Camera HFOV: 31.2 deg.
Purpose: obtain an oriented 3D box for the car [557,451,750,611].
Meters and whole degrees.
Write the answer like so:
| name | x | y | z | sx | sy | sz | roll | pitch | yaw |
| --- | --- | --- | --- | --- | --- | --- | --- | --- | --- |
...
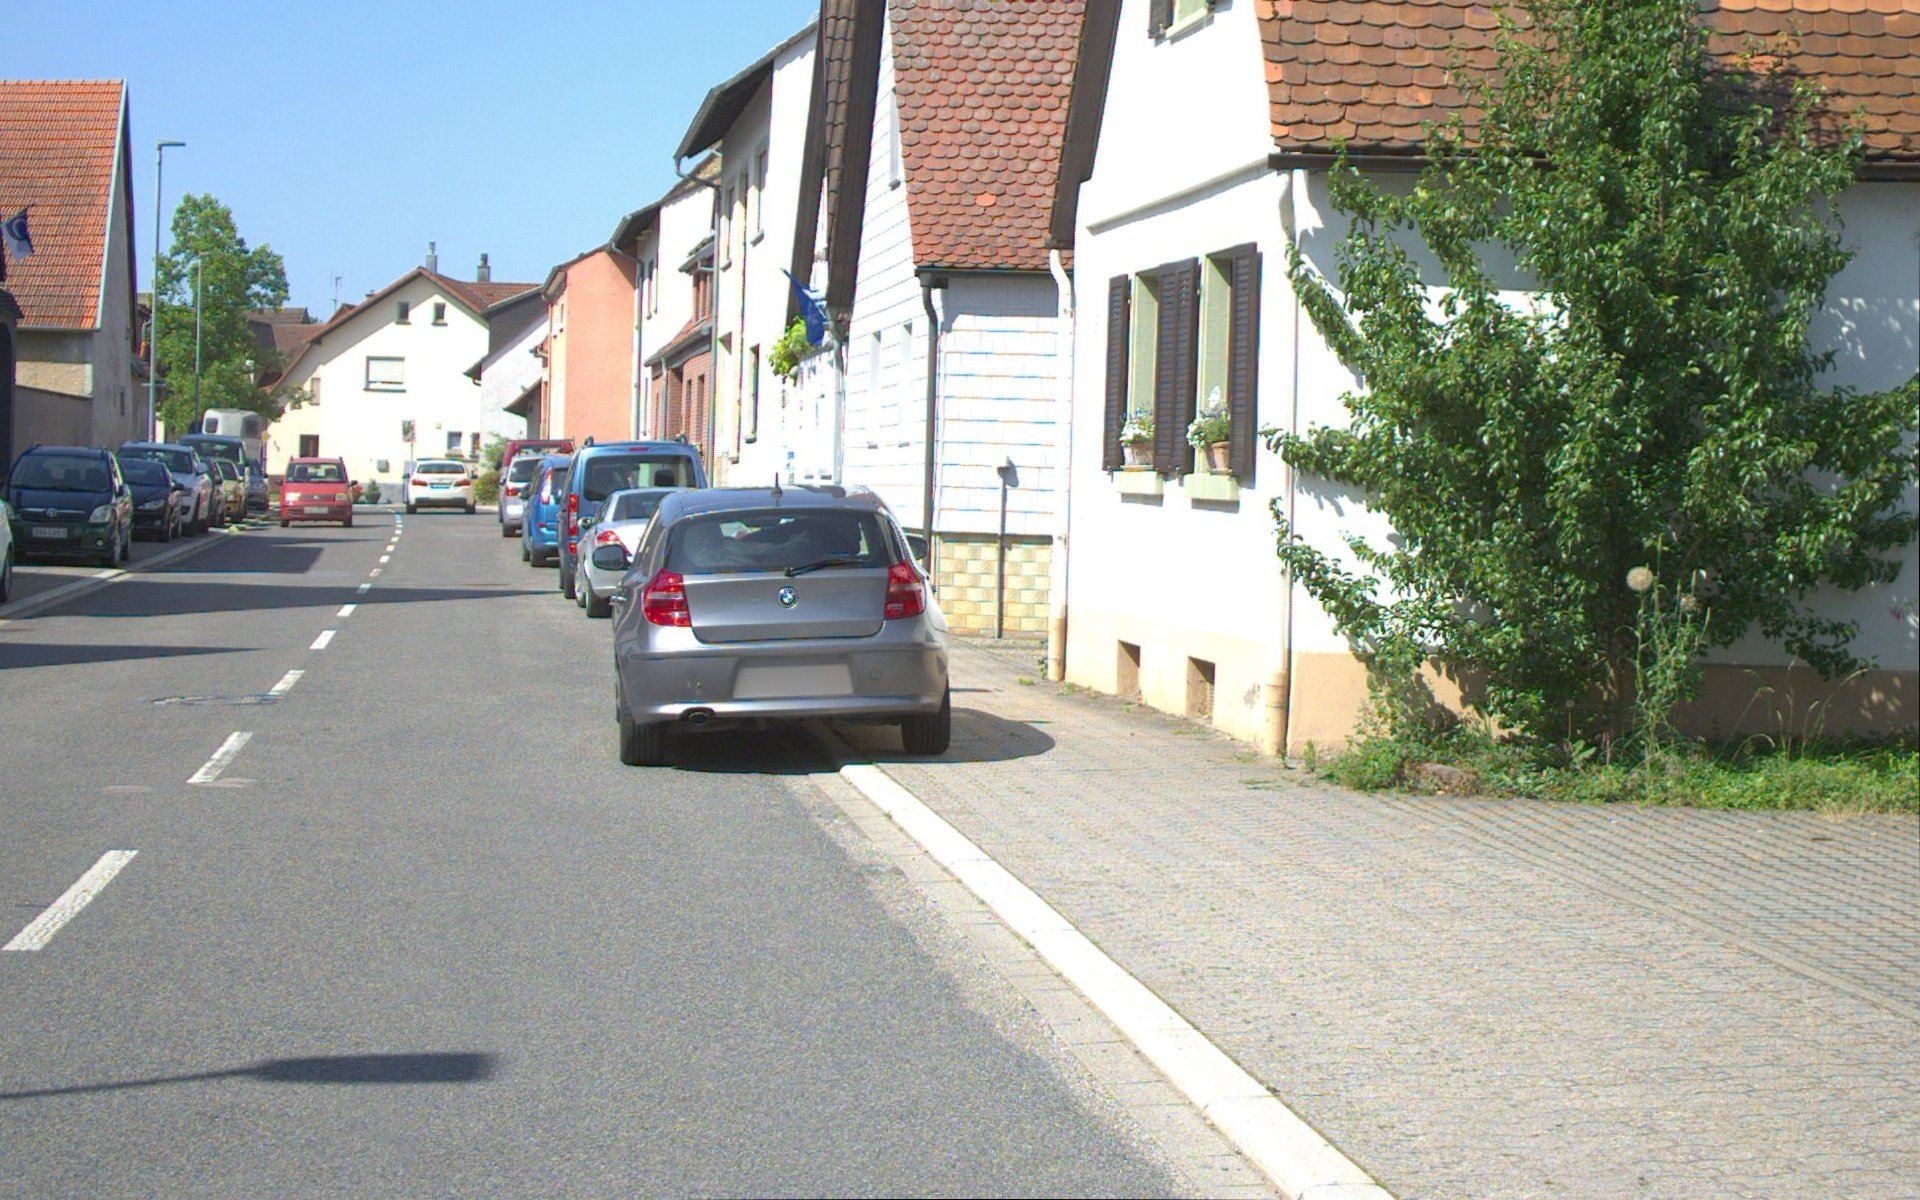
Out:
| name | x | y | z | sx | sy | sz | roll | pitch | yaw |
| --- | --- | --- | --- | --- | --- | --- | --- | --- | --- |
| car | -3.205 | -0.737 | 35.422 | 1.704 | 1.491 | 3.453 | 2 | 2 | -9 |

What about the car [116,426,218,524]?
| name | x | y | z | sx | sy | sz | roll | pitch | yaw |
| --- | --- | --- | --- | --- | --- | --- | --- | --- | --- |
| car | -14.682 | -2.324 | 63.790 | 1.527 | 1.707 | 3.627 | 2 | 2 | -9 |

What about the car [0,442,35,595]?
| name | x | y | z | sx | sy | sz | roll | pitch | yaw |
| --- | --- | --- | --- | --- | --- | --- | --- | --- | --- |
| car | -10.551 | -0.852 | 34.526 | 1.805 | 1.542 | 4.405 | 2 | 2 | -7 |

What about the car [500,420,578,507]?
| name | x | y | z | sx | sy | sz | roll | pitch | yaw |
| --- | --- | --- | --- | --- | --- | --- | --- | --- | --- |
| car | -10.027 | -3.221 | 81.695 | 1.766 | 1.997 | 3.451 | 1 | 2 | -7 |

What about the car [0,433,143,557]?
| name | x | y | z | sx | sy | sz | roll | pitch | yaw |
| --- | --- | --- | --- | --- | --- | --- | --- | --- | --- |
| car | -12.271 | -1.456 | 47.327 | 1.618 | 1.572 | 3.963 | 2 | 2 | -9 |

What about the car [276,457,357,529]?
| name | x | y | z | sx | sy | sz | roll | pitch | yaw |
| --- | --- | --- | --- | --- | --- | --- | --- | --- | --- |
| car | -14.195 | -2.382 | 75.947 | 1.600 | 1.484 | 3.627 | 2 | 2 | -9 |

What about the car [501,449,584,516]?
| name | x | y | z | sx | sy | sz | roll | pitch | yaw |
| --- | --- | --- | --- | --- | --- | --- | --- | --- | --- |
| car | -9.303 | -2.610 | 76.541 | 1.766 | 1.428 | 3.451 | 1 | 2 | -7 |

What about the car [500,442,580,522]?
| name | x | y | z | sx | sy | sz | roll | pitch | yaw |
| --- | --- | --- | --- | --- | --- | --- | --- | --- | --- |
| car | -8.422 | -2.361 | 68.726 | 1.420 | 1.510 | 3.305 | 2 | 2 | -9 |

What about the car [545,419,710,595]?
| name | x | y | z | sx | sy | sz | roll | pitch | yaw |
| --- | --- | --- | --- | --- | --- | --- | --- | --- | --- |
| car | -3.947 | -1.105 | 40.407 | 1.649 | 1.903 | 3.627 | 2 | 2 | -9 |

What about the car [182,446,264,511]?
| name | x | y | z | sx | sy | sz | roll | pitch | yaw |
| --- | --- | --- | --- | --- | --- | --- | --- | --- | --- |
| car | -16.427 | -2.709 | 76.720 | 1.527 | 1.351 | 3.627 | 2 | 2 | -9 |

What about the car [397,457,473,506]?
| name | x | y | z | sx | sy | sz | roll | pitch | yaw |
| --- | --- | --- | --- | --- | --- | --- | --- | --- | --- |
| car | -14.446 | -3.266 | 94.698 | 1.993 | 1.283 | 4.001 | 1 | 2 | -8 |

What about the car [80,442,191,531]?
| name | x | y | z | sx | sy | sz | roll | pitch | yaw |
| --- | --- | --- | --- | --- | --- | --- | --- | --- | --- |
| car | -14.158 | -1.945 | 59.128 | 1.504 | 1.448 | 3.510 | 1 | 2 | -8 |

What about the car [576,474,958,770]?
| name | x | y | z | sx | sy | sz | roll | pitch | yaw |
| --- | --- | --- | --- | --- | --- | --- | --- | --- | --- |
| car | -1.155 | 0.033 | 18.841 | 1.704 | 1.428 | 3.891 | -1 | 2 | -9 |

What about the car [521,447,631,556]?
| name | x | y | z | sx | sy | sz | roll | pitch | yaw |
| --- | --- | --- | --- | --- | --- | --- | --- | --- | --- |
| car | -5.740 | -1.474 | 51.195 | 1.420 | 1.510 | 3.305 | 2 | 2 | -9 |
